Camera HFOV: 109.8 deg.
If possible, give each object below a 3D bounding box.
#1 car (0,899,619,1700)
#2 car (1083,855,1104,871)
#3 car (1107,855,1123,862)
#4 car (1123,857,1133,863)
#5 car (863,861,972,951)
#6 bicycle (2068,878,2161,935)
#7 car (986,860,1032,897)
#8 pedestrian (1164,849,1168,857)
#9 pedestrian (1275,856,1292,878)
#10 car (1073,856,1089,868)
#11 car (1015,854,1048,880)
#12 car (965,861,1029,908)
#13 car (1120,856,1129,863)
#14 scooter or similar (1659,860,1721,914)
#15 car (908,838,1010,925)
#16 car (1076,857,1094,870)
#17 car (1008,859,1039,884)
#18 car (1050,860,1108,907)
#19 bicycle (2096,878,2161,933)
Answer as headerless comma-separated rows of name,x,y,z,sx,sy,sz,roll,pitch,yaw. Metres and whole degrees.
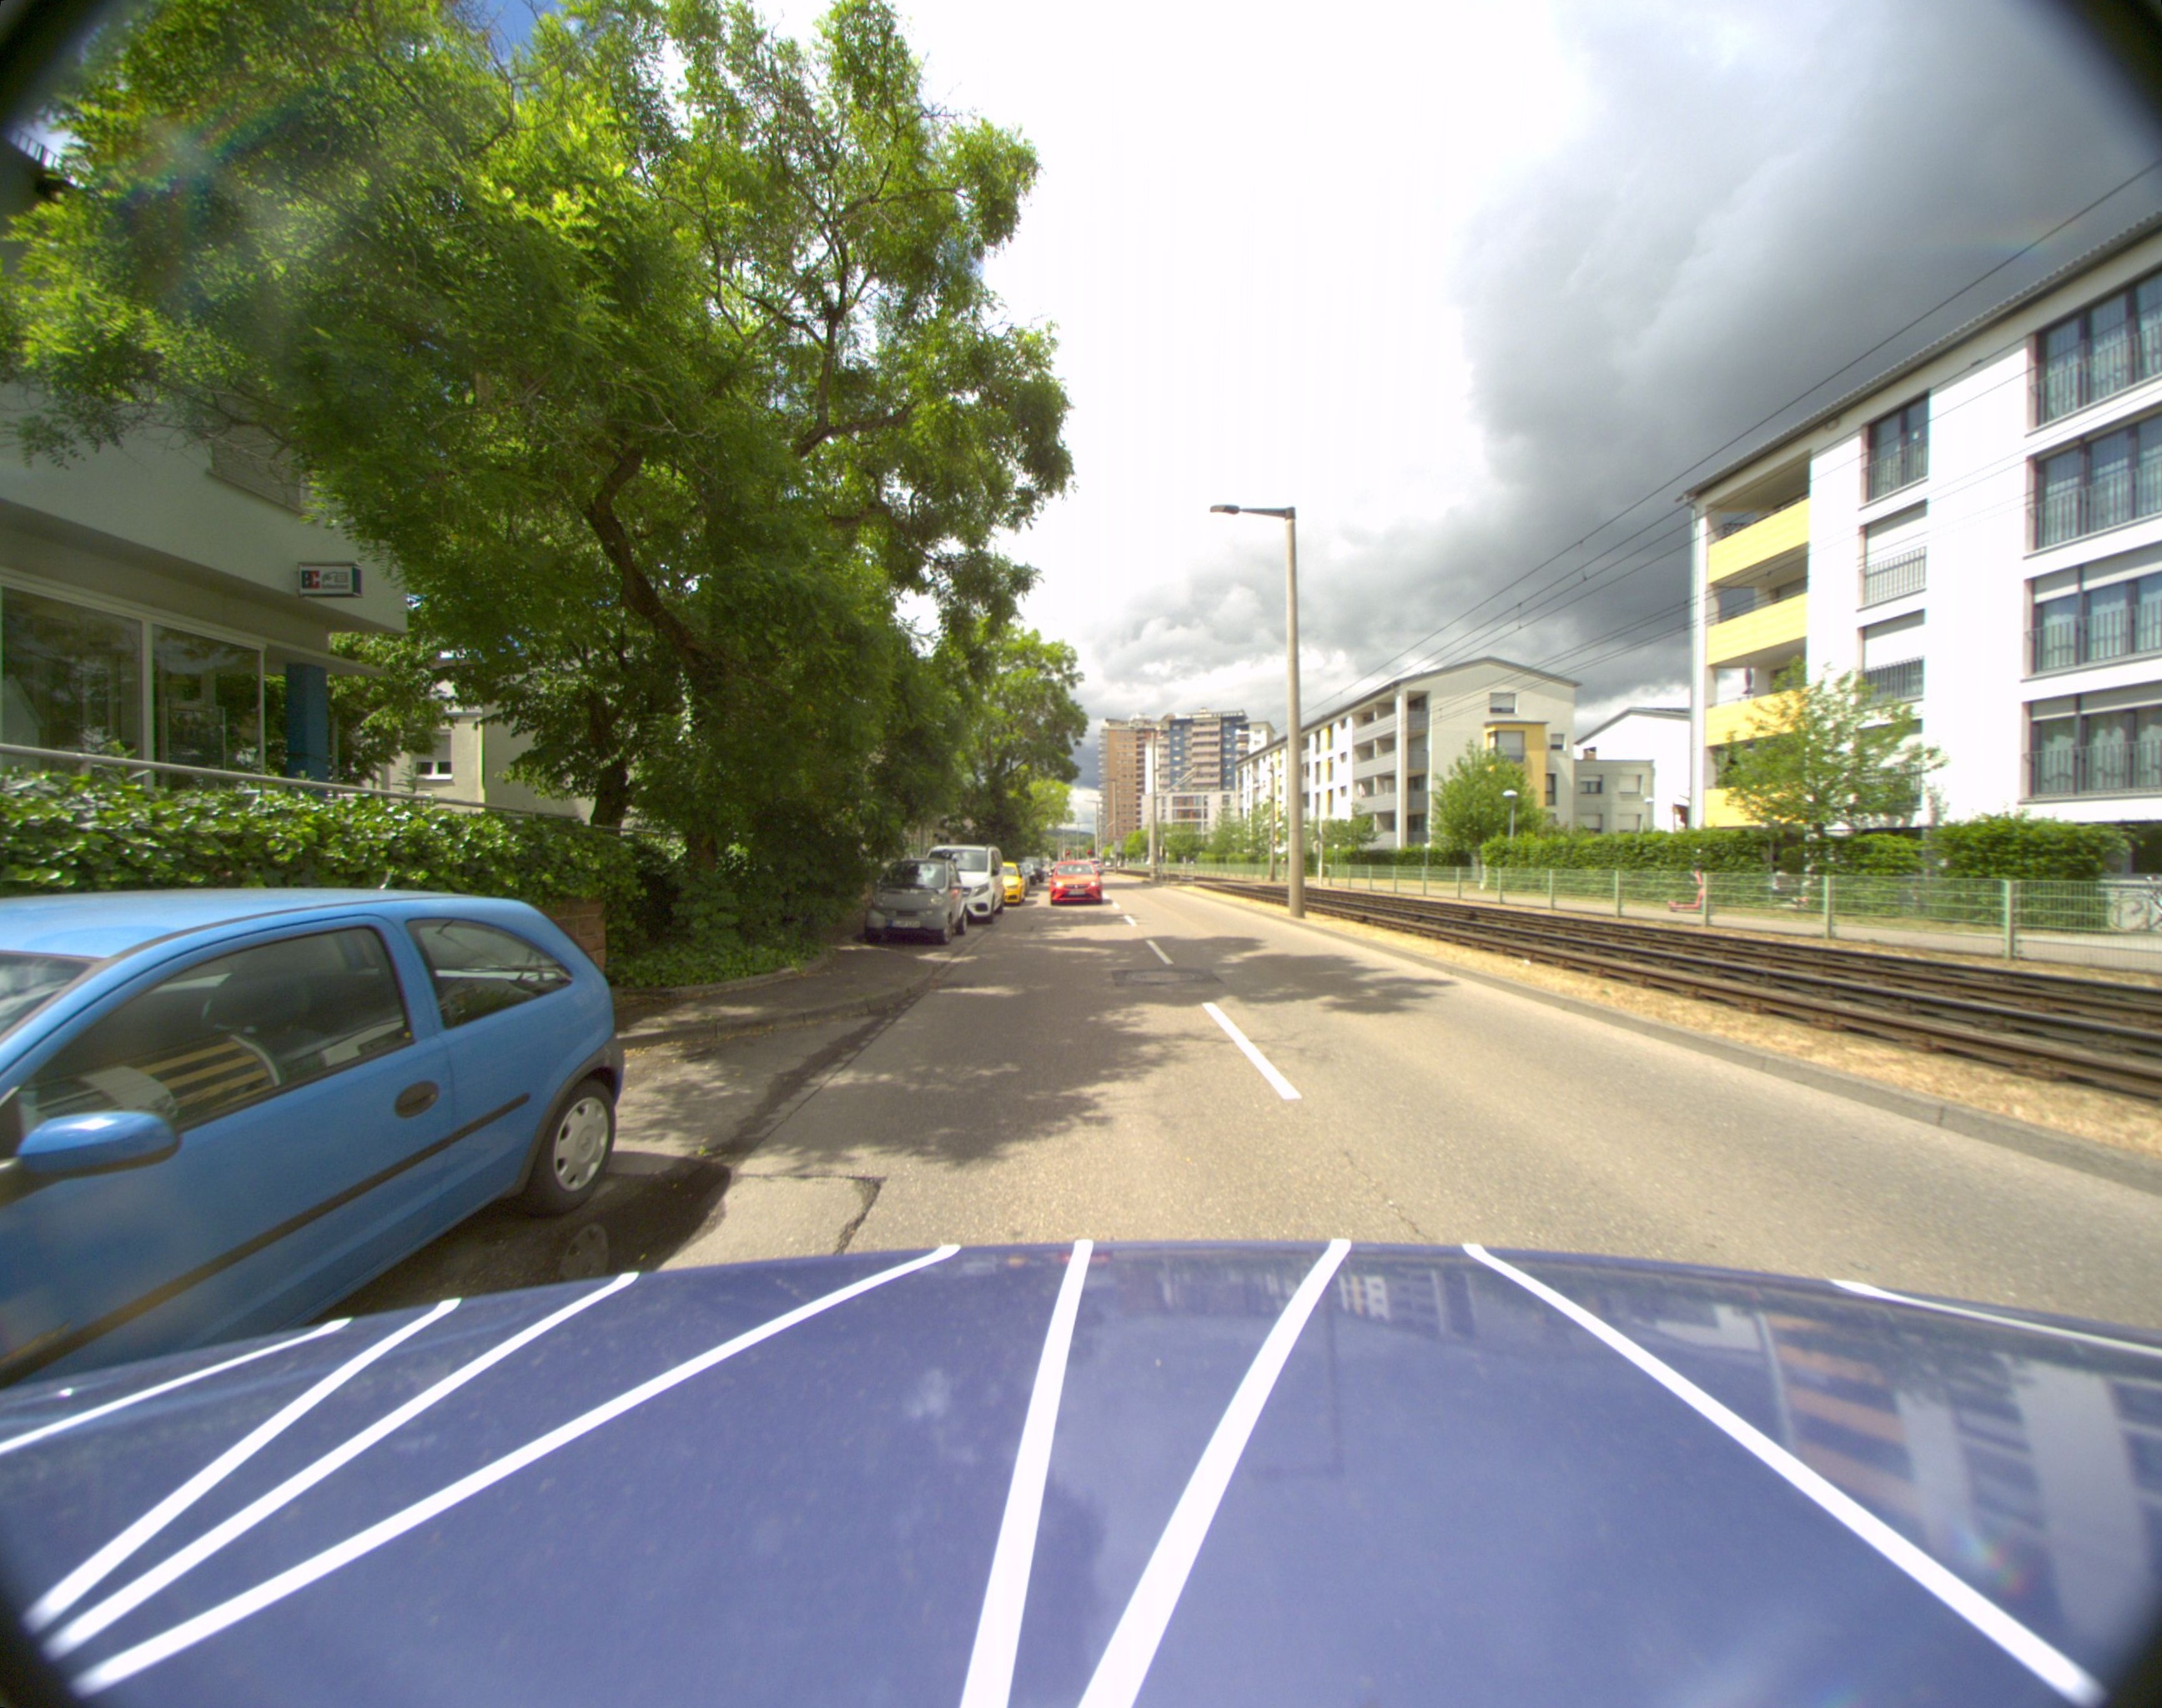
car,-2.949,0.944,1.749,1.612,1.448,3.675,1,0,-2
car,1.279,0.942,79.382,1.822,1.604,4.600,-2,0,-2
car,9.708,1.157,216.555,4.506,1.914,1.877,-1,0,-43
car,10.720,1.350,173.016,1.894,1.530,3.803,-1,0,-2
car,-3.046,0.913,14.637,1.517,1.525,2.846,1,0,-1
bicycle,19.684,0.964,13.843,0.556,0.974,2.213,-1,0,1
car,-3.060,1.015,33.037,1.760,1.434,4.492,0,0,-3
pedestrian,15.959,-0.182,142.495,0.749,1.644,0.538,-1,0,-3
pedestrian,13.365,0.857,50.214,0.798,1.474,0.995,-1,0,-3
car,-0.024,1.098,104.871,1.863,1.680,4.432,-1,0,-4
car,-3.467,0.904,54.057,2.020,1.778,5.075,0,0,-1
car,-2.801,0.991,26.147,1.760,1.434,4.340,1,0,-1
car,10.247,1.297,178.950,1.782,1.530,3.802,-1,0,-4
scooter or similar,15.036,0.797,18.798,0.491,1.285,1.302,-1,0,0
car,-3.021,0.624,20.012,1.919,1.947,5.744,0,0,-2
car,0.473,1.082,89.203,1.822,1.494,4.835,-2,0,-3
car,-3.579,1.047,47.745,1.839,1.497,4.241,0,0,-3
car,-0.132,0.948,26.080,1.792,1.387,4.241,-2,0,-2
bicycle,20.207,0.963,13.827,0.556,0.974,2.213,-1,0,1
